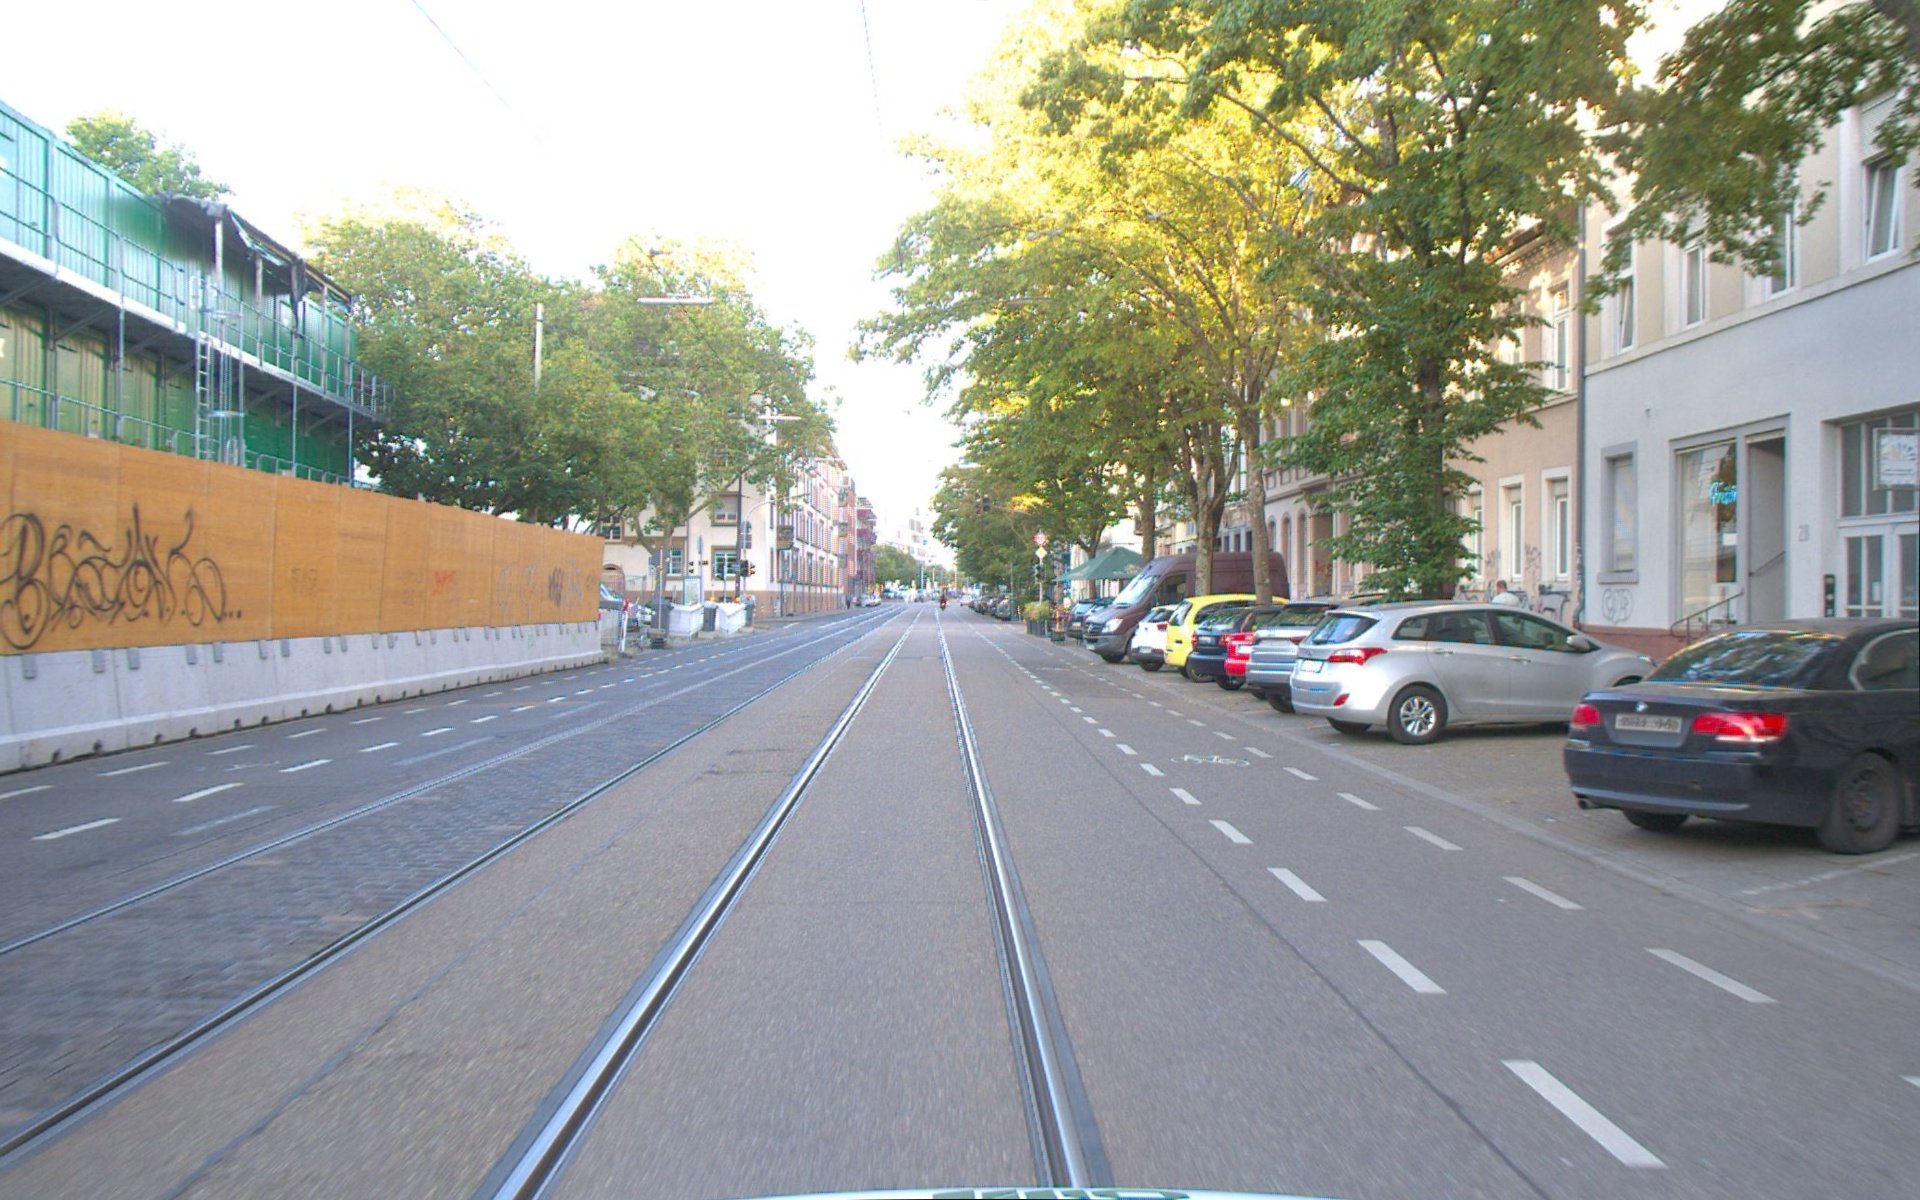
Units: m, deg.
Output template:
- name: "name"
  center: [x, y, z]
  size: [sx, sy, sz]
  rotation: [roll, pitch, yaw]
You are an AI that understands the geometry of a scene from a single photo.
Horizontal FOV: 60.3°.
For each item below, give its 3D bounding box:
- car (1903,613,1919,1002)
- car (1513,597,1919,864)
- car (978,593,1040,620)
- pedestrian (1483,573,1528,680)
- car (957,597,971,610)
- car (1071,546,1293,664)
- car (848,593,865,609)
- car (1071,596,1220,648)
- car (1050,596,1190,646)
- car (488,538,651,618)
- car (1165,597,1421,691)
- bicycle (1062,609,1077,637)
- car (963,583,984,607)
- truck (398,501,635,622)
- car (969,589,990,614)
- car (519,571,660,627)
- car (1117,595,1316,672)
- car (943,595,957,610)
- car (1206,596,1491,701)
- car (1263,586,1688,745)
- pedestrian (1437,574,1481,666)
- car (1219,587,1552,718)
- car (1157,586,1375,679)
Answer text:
- name: "car"
  center: [5.911, 0.691, 6.366]
  size: [4.065, 1.496, 1.999]
  rotation: [-3, 1, -26]
- name: "car"
  center: [6.010, 0.724, 11.011]
  size: [4.196, 1.416, 2.000]
  rotation: [-1, 0, -25]
- name: "car"
  center: [3.070, 0.413, 103.249]
  size: [3.808, 1.620, 1.861]
  rotation: [1, 0, 0]
- name: "pedestrian"
  center: [9.439, 0.453, 28.624]
  size: [0.554, 1.846, 0.606]
  rotation: [0, 0, -2]
- name: "car"
  center: [0.633, 0.517, 239.113]
  size: [1.923, 1.748, 3.999]
  rotation: [1, 0, -1]
- name: "car"
  center: [5.474, 0.094, 40.903]
  size: [5.016, 2.689, 2.011]
  rotation: [-2, 0, -18]
- name: "car"
  center: [-12.993, 0.134, 208.160]
  size: [1.859, 2.049, 3.999]
  rotation: [1, 0, -1]
- name: "car"
  center: [5.713, 0.674, 51.042]
  size: [4.109, 1.488, 1.999]
  rotation: [-1, 0, -17]
- name: "car"
  center: [5.220, 0.671, 53.896]
  size: [4.123, 1.525, 1.992]
  rotation: [-1, 0, -26]
- name: "car"
  center: [-13.962, -0.800, 59.381]
  size: [5.293, 2.603, 2.225]
  rotation: [2, 0, -4]
- name: "car"
  center: [5.816, 0.736, 28.843]
  size: [4.072, 1.450, 1.904]
  rotation: [-1, 0, -27]
- name: "bicycle"
  center: [4.281, 0.894, 64.754]
  size: [0.410, 1.033, 1.829]
  rotation: [1, 0, -1]
- name: "car"
  center: [1.196, -0.455, 149.004]
  size: [1.768, 2.049, 3.999]
  rotation: [1, 0, -1]
- name: "truck"
  center: [-14.249, -1.223, 53.505]
  size: [6.919, 3.541, 2.539]
  rotation: [2, 0, -5]
- name: "car"
  center: [1.660, 0.126, 141.440]
  size: [1.686, 2.049, 3.999]
  rotation: [1, 0, -1]
- name: "car"
  center: [-14.566, -0.043, 65.235]
  size: [4.921, 1.979, 2.228]
  rotation: [2, 0, 3]
- name: "car"
  center: [5.609, 0.709, 36.138]
  size: [3.900, 1.512, 1.905]
  rotation: [-1, -1, -25]
- name: "car"
  center: [-1.393, 0.320, 227.877]
  size: [1.859, 2.049, 3.999]
  rotation: [1, 0, -1]
- name: "car"
  center: [6.071, 0.721, 25.840]
  size: [4.072, 1.450, 1.881]
  rotation: [-1, 0, -27]
- name: "car"
  center: [5.811, 0.691, 18.868]
  size: [4.175, 1.576, 2.014]
  rotation: [-1, 0, -12]
- name: "pedestrian"
  center: [8.815, 0.352, 29.235]
  size: [0.527, 1.595, 0.813]
  rotation: [0, 0, 1]
- name: "car"
  center: [5.880, 0.677, 22.840]
  size: [4.195, 1.588, 1.884]
  rotation: [-1, 0, -24]
- name: "car"
  center: [5.912, 0.626, 32.306]
  size: [3.870, 1.648, 1.920]
  rotation: [-2, 0, -1]
